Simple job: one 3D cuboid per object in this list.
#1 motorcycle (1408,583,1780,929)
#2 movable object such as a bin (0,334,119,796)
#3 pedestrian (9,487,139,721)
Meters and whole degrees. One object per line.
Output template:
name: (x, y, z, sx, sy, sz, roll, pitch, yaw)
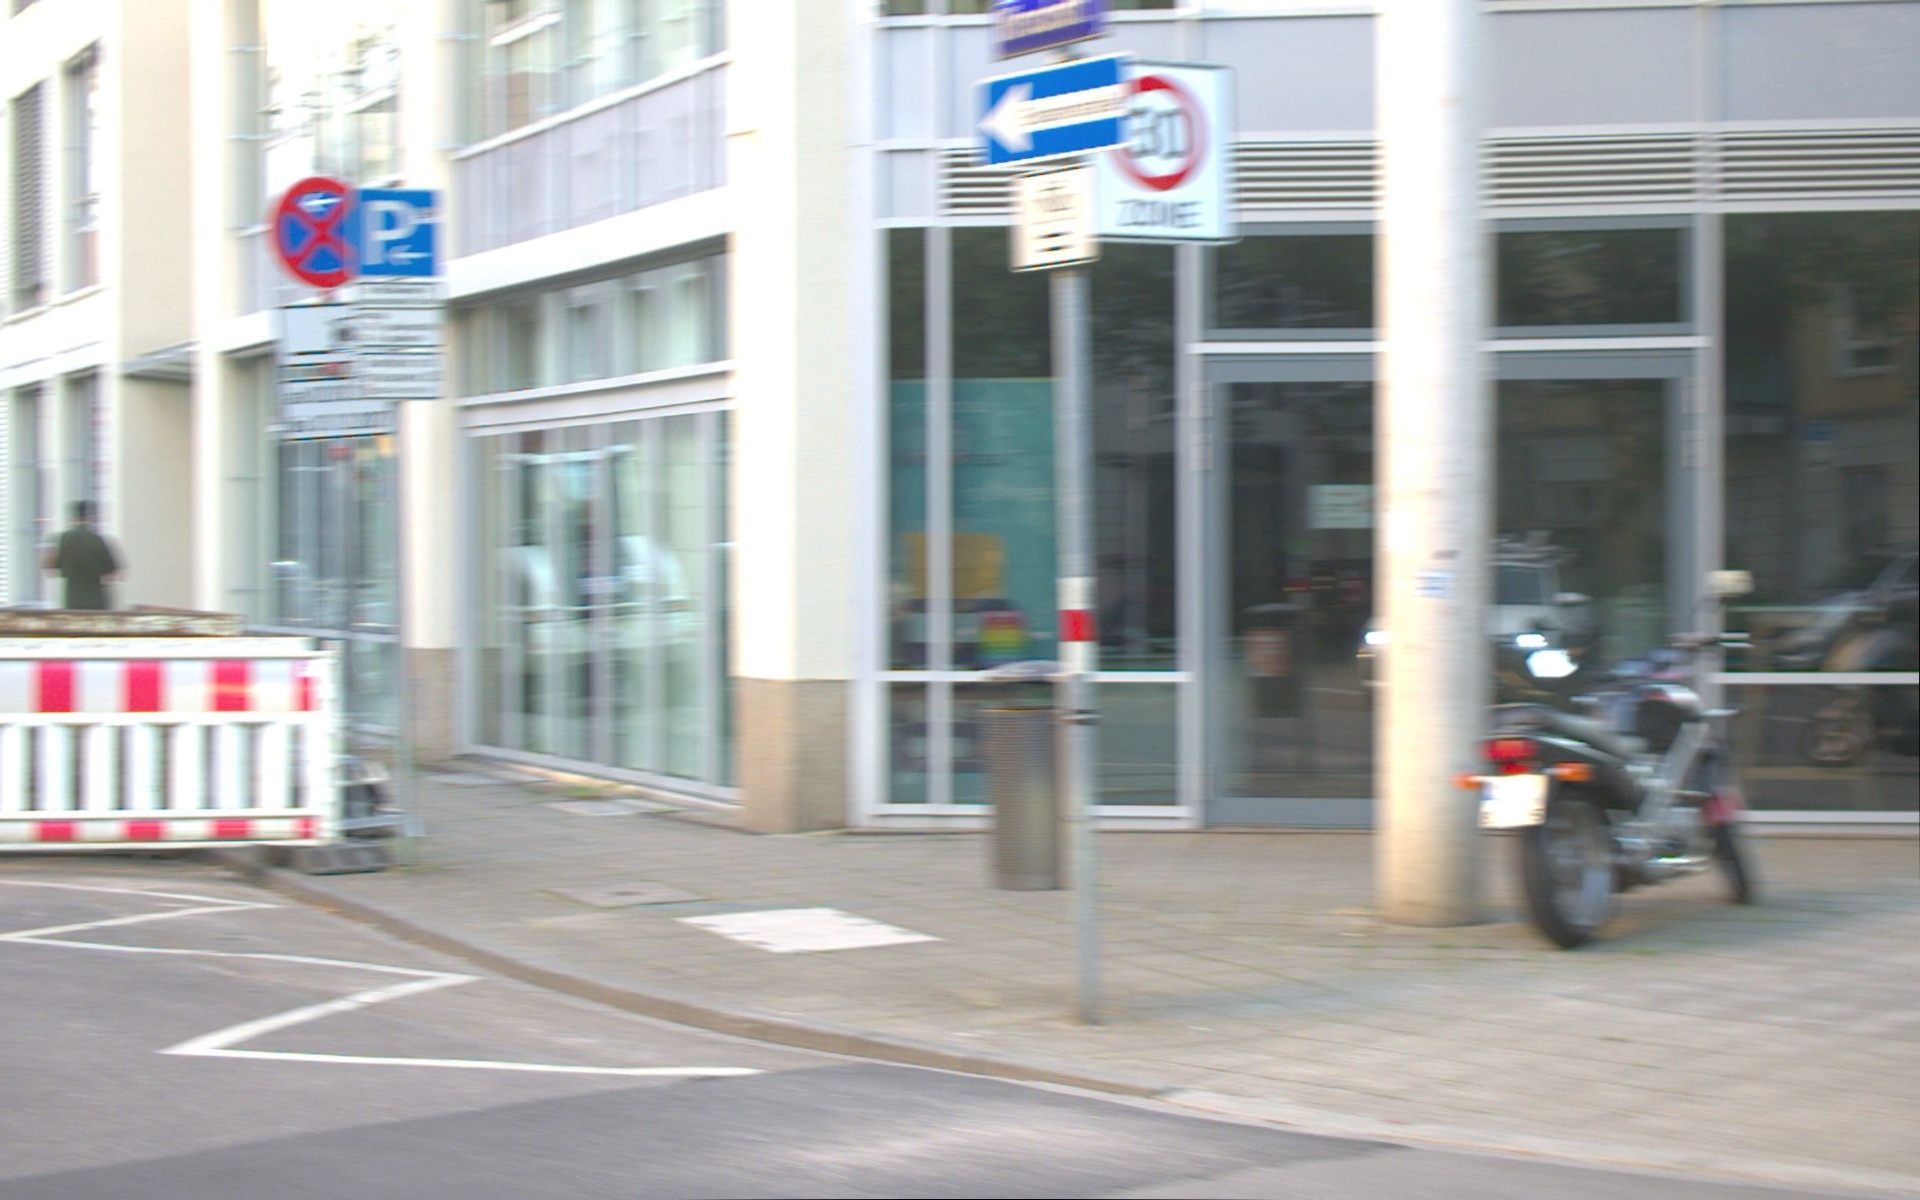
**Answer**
motorcycle: (2.478, 0.542, 13.193, 0.557, 1.168, 2.304, 0, 2, 33)
movable object such as a bin: (-7.259, -0.239, 22.275, 2.276, 2.683, 5.650, -1, 1, -27)
pedestrian: (-7.132, 0.020, 27.648, 0.887, 1.844, 0.876, -1, 1, -22)
